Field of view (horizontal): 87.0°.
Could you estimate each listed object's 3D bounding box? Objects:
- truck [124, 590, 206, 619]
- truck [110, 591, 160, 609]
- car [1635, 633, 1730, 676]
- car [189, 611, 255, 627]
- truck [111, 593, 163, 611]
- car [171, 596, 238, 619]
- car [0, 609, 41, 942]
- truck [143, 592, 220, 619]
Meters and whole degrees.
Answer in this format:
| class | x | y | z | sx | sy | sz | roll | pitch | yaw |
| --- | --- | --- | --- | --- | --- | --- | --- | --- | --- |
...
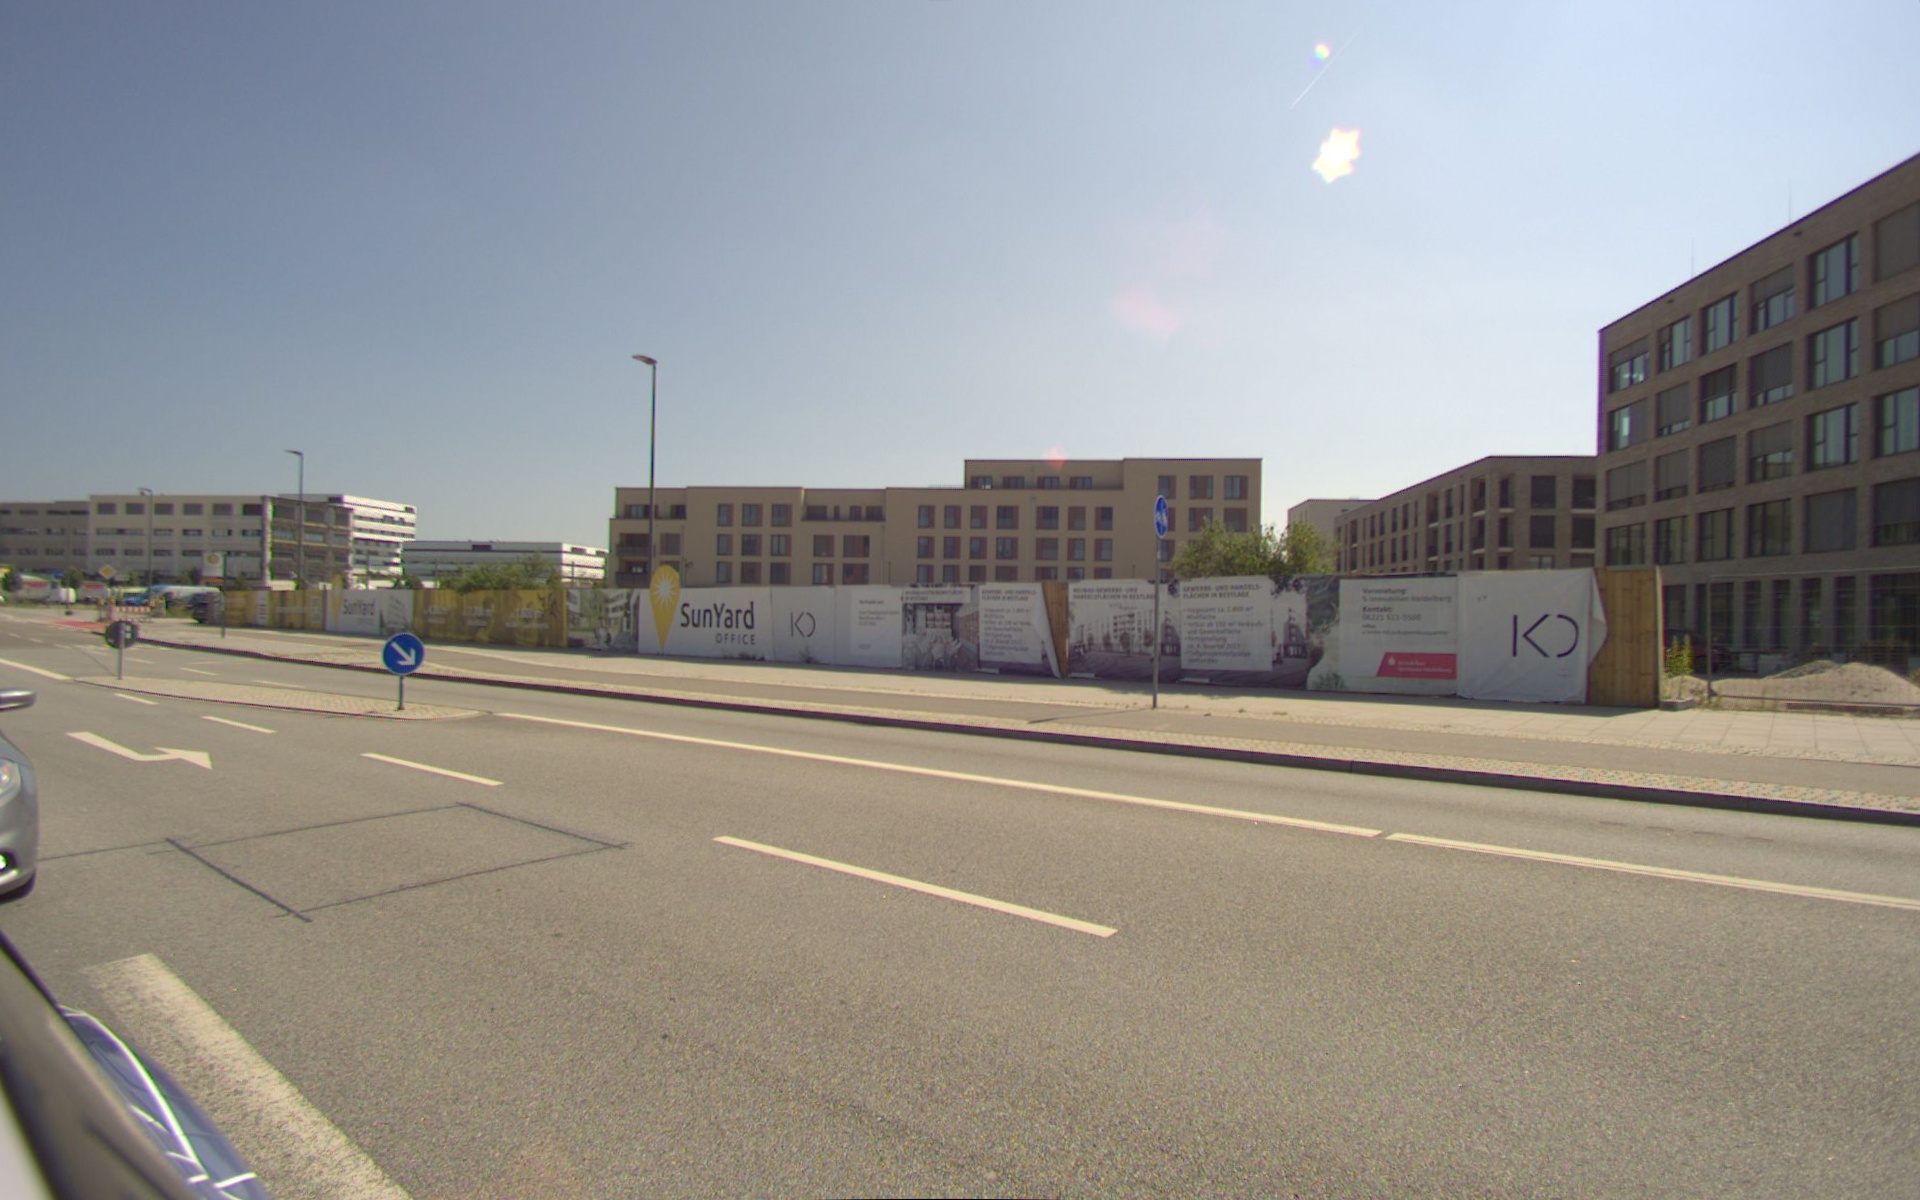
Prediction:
| class | x | y | z | sx | sy | sz | roll | pitch | yaw |
| --- | --- | --- | --- | --- | --- | --- | --- | --- | --- |
| truck | -72.494 | 0.380 | 92.400 | 1.996 | 2.494 | 5.567 | 0 | 1 | 36 |
| truck | -120.235 | -0.014 | 147.552 | 1.998 | 2.494 | 5.346 | 0 | 1 | 38 |
| car | 32.016 | 2.389 | 44.974 | 1.814 | 1.666 | 3.772 | 0 | 0 | 7 |
| car | -48.277 | 1.232 | 66.211 | 1.293 | 0.960 | 3.315 | 0 | 1 | 43 |
| truck | -114.906 | 0.292 | 141.384 | 1.996 | 2.494 | 5.270 | 0 | 1 | 36 |
| car | -60.295 | 0.597 | 80.791 | 1.888 | 1.731 | 3.885 | 0 | 1 | 35 |
| car | -6.392 | 0.787 | 5.353 | 4.345 | 1.478 | 1.796 | -1 | -1 | 41 |
| truck | -67.097 | 0.418 | 87.317 | 1.998 | 2.245 | 4.942 | 0 | 1 | 39 |
